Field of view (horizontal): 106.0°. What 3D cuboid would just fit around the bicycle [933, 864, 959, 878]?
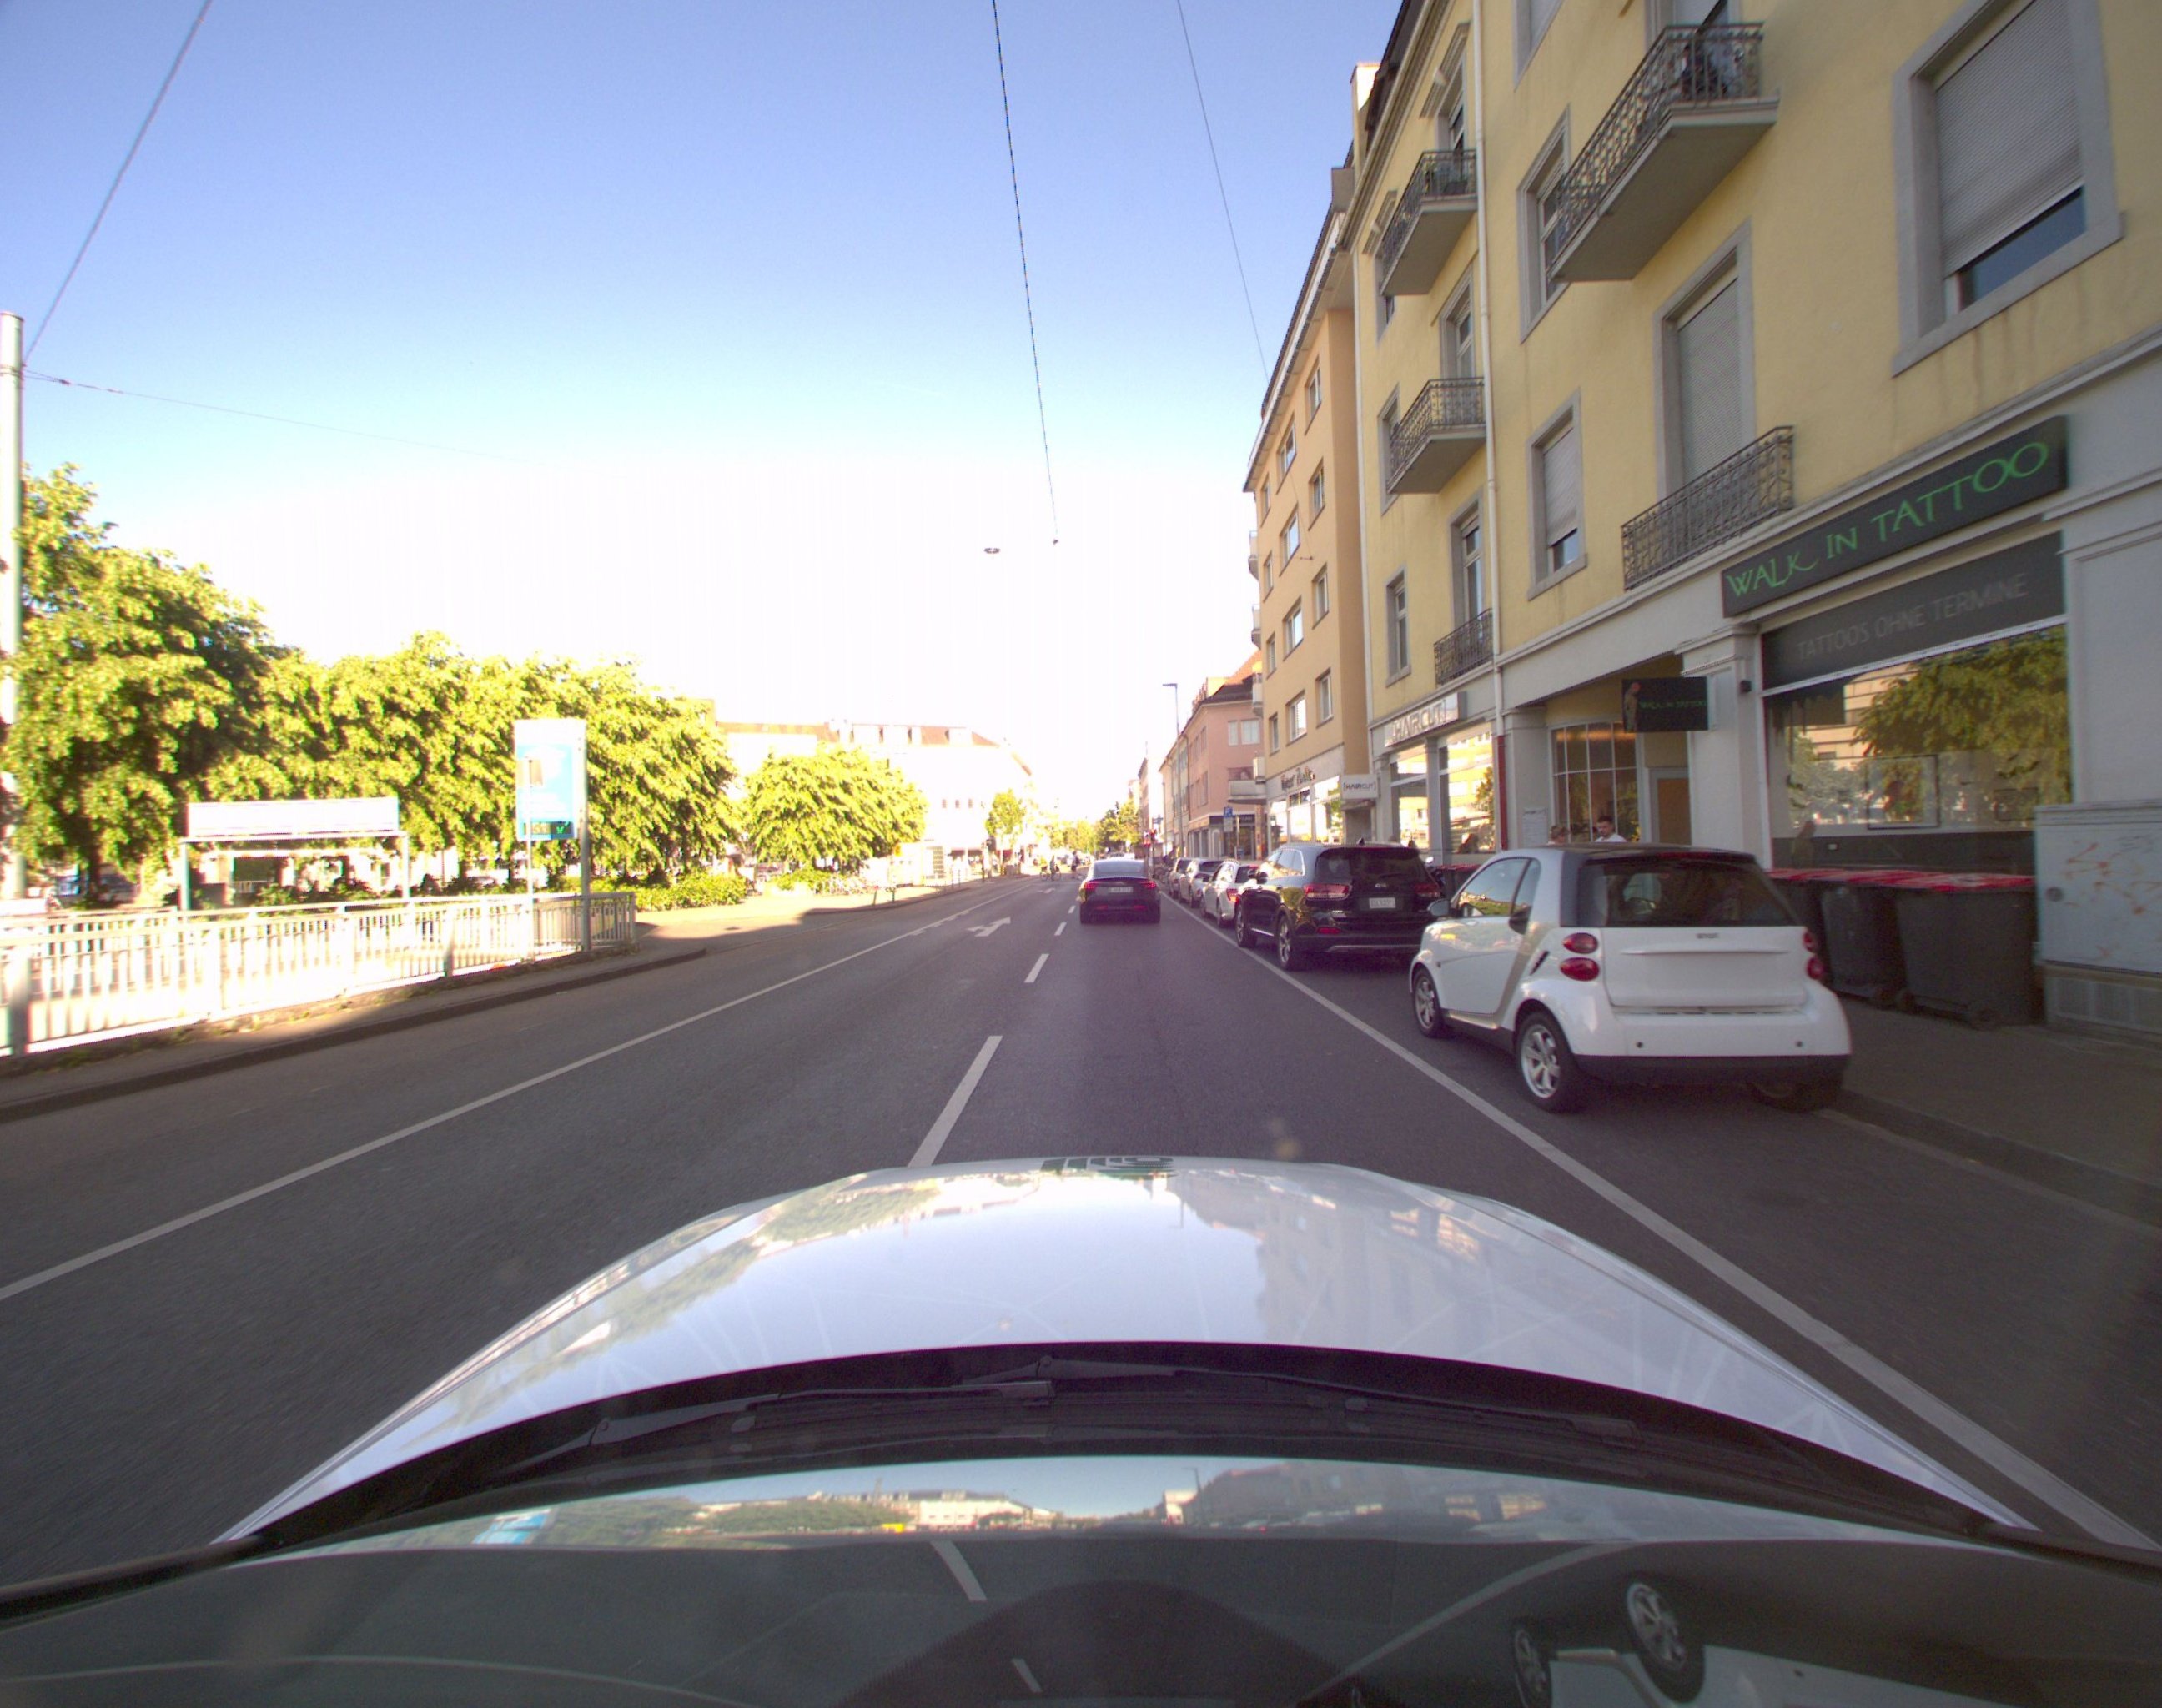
[{"bbox_3d":[-11.434,1.429,68.929,2.074,1.104,0.806,-1,0,2],"label":"bicycle"}]

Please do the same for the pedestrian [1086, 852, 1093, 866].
[{"bbox_3d":[1.231,0.747,123.688,0.754,2.014,0.792,-1,-1,-24],"label":"pedestrian"}]

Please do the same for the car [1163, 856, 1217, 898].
[{"bbox_3d":[3.864,0.765,29.254,1.615,1.394,3.889,-1,0,3],"label":"car"}]

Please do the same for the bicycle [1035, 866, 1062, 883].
[{"bbox_3d":[-2.041,1.277,50.988,1.607,1.045,0.592,0,-1,5],"label":"bicycle"}]

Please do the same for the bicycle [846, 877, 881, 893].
[{"bbox_3d":[-10.173,1.450,38.099,1.466,0.769,0.475,0,-1,4],"label":"bicycle"}]

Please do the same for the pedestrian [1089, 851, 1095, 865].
[{"bbox_3d":[1.681,0.633,122.464,0.620,2.014,0.562,-1,-1,27],"label":"pedestrian"}]

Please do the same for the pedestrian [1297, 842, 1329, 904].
[{"bbox_3d":[6.326,0.516,22.236,0.659,1.633,0.629,-3,-1,6],"label":"pedestrian"}]

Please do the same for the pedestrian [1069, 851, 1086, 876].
[{"bbox_3d":[-0.216,0.631,53.577,0.981,1.636,0.738,-1,0,6],"label":"pedestrian"}]

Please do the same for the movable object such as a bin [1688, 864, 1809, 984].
[{"bbox_3d":[6.435,0.654,7.881,0.603,1.066,0.620,-4,0,2],"label":"movable object such as a bin"}]

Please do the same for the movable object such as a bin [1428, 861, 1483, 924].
[{"bbox_3d":[6.646,0.679,14.462,0.656,1.041,0.620,-4,0,5],"label":"movable object such as a bin"}]

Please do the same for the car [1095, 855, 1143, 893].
[{"bbox_3d":[1.601,0.796,33.815,1.842,1.455,3.789,-1,0,3],"label":"car"}]

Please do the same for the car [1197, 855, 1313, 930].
[{"bbox_3d":[3.740,0.762,18.220,1.732,1.447,4.465,-1,0,1],"label":"car"}]

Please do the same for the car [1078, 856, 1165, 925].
[{"bbox_3d":[0.980,0.794,19.382,1.842,1.455,3.789,-1,0,3],"label":"car"}]

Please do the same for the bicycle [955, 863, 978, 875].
[{"bbox_3d":[-11.003,1.434,78.414,2.074,1.104,0.806,-1,0,2],"label":"bicycle"}]

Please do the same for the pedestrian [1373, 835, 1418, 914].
[{"bbox_3d":[6.696,0.435,17.351,0.694,1.633,0.532,-3,0,0],"label":"pedestrian"}]

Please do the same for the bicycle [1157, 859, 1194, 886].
[{"bbox_3d":[4.437,0.869,38.210,1.622,1.160,0.433,-3,0,1],"label":"bicycle"}]

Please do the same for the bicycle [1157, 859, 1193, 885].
[{"bbox_3d":[4.506,0.846,39.172,1.622,1.160,0.433,-3,0,1],"label":"bicycle"}]

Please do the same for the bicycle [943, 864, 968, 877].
[{"bbox_3d":[-10.990,1.422,71.436,2.074,1.104,0.806,-1,0,2],"label":"bicycle"}]

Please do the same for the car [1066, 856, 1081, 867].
[{"bbox_3d":[-1.199,1.183,126.617,1.986,1.541,4.002,-5,0,2],"label":"car"}]

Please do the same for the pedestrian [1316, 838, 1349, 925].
[{"bbox_3d":[5.221,0.561,16.903,0.437,1.762,0.476,0,-1,-36],"label":"pedestrian"}]

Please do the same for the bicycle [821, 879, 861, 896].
[{"bbox_3d":[-10.675,1.487,36.197,1.645,0.769,0.476,-1,-1,11],"label":"bicycle"}]

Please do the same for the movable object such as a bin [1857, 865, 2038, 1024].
[{"bbox_3d":[6.352,0.636,6.001,0.603,1.066,0.620,-4,0,2],"label":"movable object such as a bin"}]

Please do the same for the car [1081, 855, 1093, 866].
[{"bbox_3d":[1.000,1.021,134.811,2.043,1.727,4.653,-1,0,0],"label":"car"}]

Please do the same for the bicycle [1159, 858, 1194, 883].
[{"bbox_3d":[4.726,0.834,40.409,1.621,1.160,0.433,-3,0,3],"label":"bicycle"}]

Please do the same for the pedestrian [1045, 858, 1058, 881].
[{"bbox_3d":[-1.846,0.975,51.435,0.739,1.440,0.583,0,-1,5],"label":"pedestrian"}]

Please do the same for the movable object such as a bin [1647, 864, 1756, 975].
[{"bbox_3d":[6.478,0.666,8.527,0.603,1.066,0.620,-4,0,2],"label":"movable object such as a bin"}]

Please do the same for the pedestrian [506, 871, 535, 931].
[{"bbox_3d":[-17.649,1.467,25.642,0.582,1.856,0.598,0,-1,-17],"label":"pedestrian"}]

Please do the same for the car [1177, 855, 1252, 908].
[{"bbox_3d":[3.905,0.769,24.421,1.664,1.427,4.078,-1,0,1],"label":"car"}]

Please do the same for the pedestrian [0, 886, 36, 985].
[{"bbox_3d":[-20.799,1.553,15.663,0.579,1.856,0.601,0,-1,-1],"label":"pedestrian"}]

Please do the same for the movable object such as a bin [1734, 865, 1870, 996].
[{"bbox_3d":[6.405,0.656,7.266,0.603,1.066,0.620,-4,0,2],"label":"movable object such as a bin"}]

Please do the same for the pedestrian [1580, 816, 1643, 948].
[{"bbox_3d":[6.870,0.352,10.548,0.339,1.660,0.519,-2,0,-27],"label":"pedestrian"}]

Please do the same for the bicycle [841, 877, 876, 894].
[{"bbox_3d":[-10.250,1.435,37.541,1.465,0.769,0.442,0,-1,6],"label":"bicycle"}]

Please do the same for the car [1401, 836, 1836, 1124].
[{"bbox_3d":[3.416,0.676,5.745,1.267,1.518,2.796,-1,0,2],"label":"car"}]

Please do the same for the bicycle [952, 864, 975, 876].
[{"bbox_3d":[-10.984,1.463,76.216,2.074,1.104,0.806,-1,0,2],"label":"bicycle"}]

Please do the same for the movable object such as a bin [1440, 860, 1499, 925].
[{"bbox_3d":[6.586,0.641,13.829,0.664,1.025,0.620,-4,0,5],"label":"movable object such as a bin"}]

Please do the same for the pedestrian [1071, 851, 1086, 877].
[{"bbox_3d":[-0.155,0.662,54.506,0.896,1.725,0.745,-1,0,6],"label":"pedestrian"}]

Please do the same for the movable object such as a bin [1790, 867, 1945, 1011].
[{"bbox_3d":[6.376,0.664,6.633,0.603,1.066,0.620,-4,0,2],"label":"movable object such as a bin"}]

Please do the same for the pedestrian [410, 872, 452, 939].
[{"bbox_3d":[-18.423,1.441,23.088,0.578,1.856,0.733,0,-1,5],"label":"pedestrian"}]

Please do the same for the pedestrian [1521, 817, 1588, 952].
[{"bbox_3d":[6.029,0.377,10.390,0.448,1.660,0.593,-3,0,3],"label":"pedestrian"}]

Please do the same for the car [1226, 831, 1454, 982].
[{"bbox_3d":[3.445,0.621,11.834,1.750,1.736,4.569,-1,0,-1],"label":"car"}]
